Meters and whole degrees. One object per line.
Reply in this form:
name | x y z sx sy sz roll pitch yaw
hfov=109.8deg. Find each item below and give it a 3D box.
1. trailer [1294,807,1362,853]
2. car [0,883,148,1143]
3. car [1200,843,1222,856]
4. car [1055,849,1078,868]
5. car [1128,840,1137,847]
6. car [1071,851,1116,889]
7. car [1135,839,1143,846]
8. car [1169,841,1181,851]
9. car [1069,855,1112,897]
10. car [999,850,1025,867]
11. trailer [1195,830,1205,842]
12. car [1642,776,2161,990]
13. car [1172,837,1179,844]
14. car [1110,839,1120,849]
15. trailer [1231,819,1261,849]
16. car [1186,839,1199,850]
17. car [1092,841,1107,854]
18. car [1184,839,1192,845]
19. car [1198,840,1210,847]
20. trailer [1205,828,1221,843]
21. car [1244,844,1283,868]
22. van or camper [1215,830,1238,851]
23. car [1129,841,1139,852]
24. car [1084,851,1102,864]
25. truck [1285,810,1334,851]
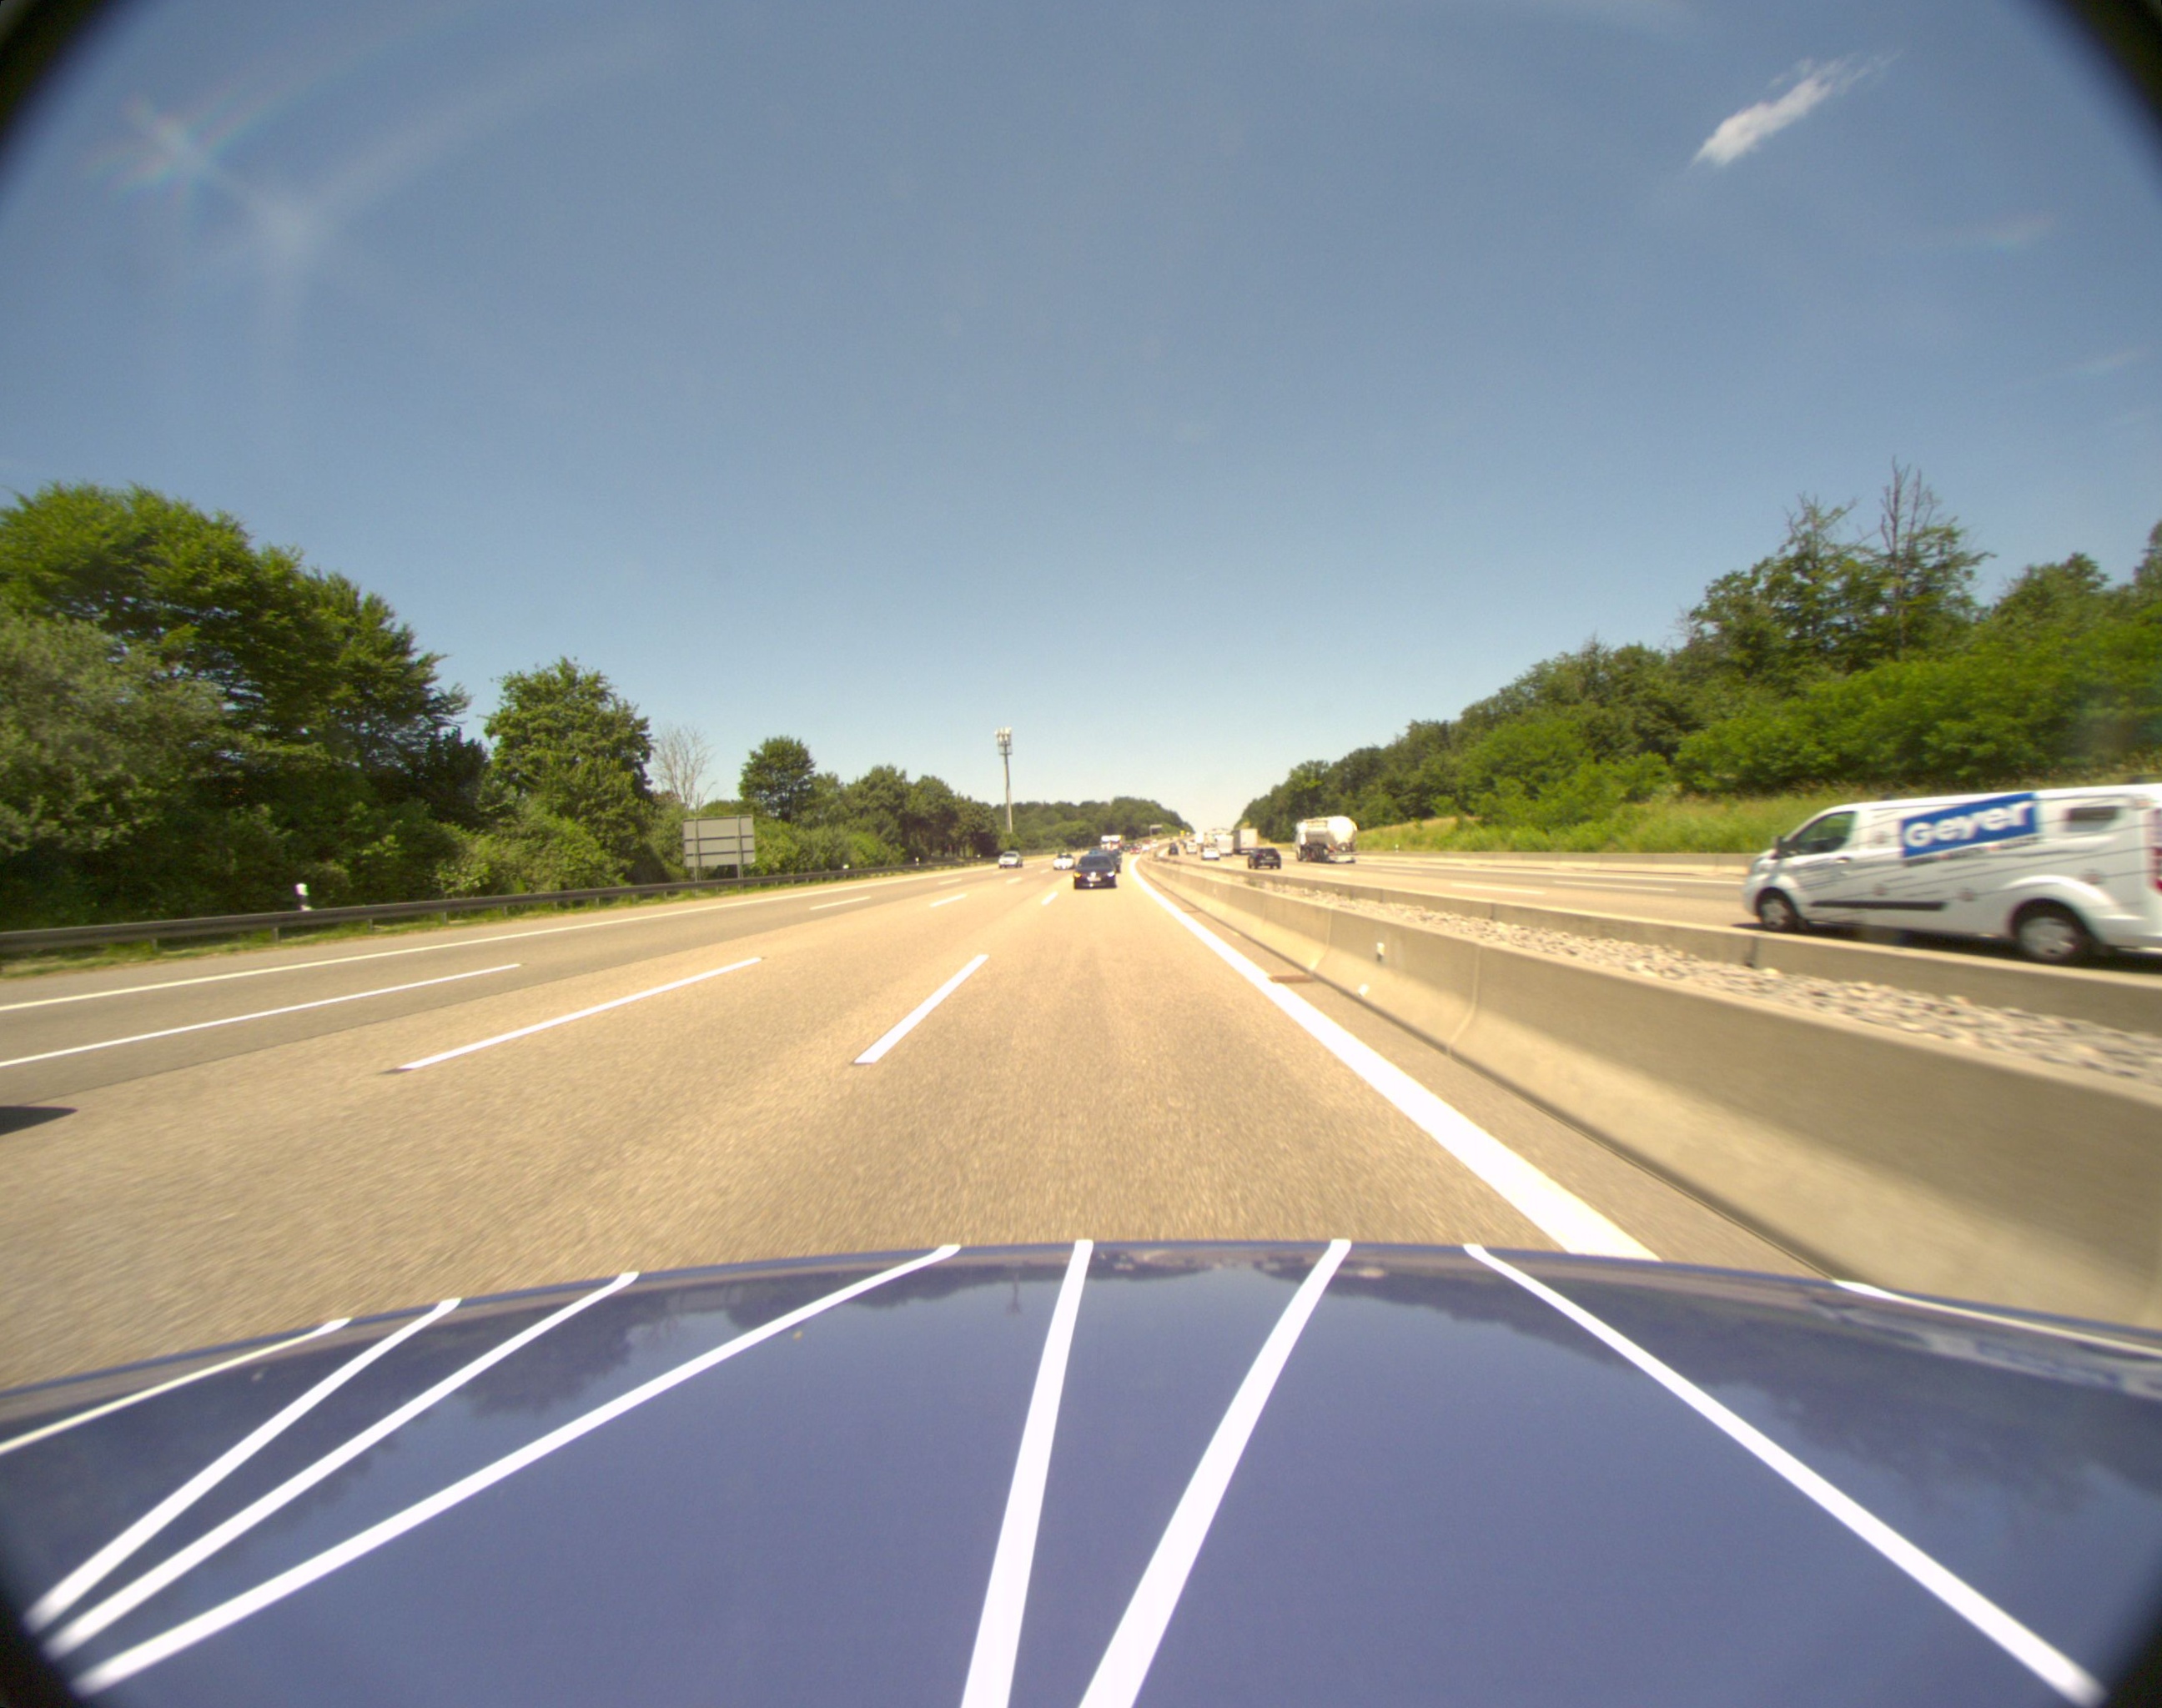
trailer | 21.180 -2.060 65.967 2.658 3.515 10.492 -3 1 2
car | -7.363 1.022 2.979 1.754 1.510 4.483 -2 1 1
car | 15.111 -0.524 88.569 1.998 1.451 5.048 -1 1 3
car | -1.251 0.390 66.185 1.729 1.521 3.741 -2 1 2
car | 13.081 -2.708 193.715 1.998 1.848 4.000 -3 1 3
car | 0.596 0.647 32.909 1.760 1.431 4.000 -2 1 3
car | 18.090 -3.678 236.446 1.998 2.002 3.999 -3 1 2
car | 16.097 -1.338 130.228 1.677 1.488 4.953 -2 1 5
car | 0.417 0.806 28.966 1.447 1.376 3.049 -2 2 3
car | -6.909 0.420 76.722 1.998 1.521 4.000 -2 1 3
trailer | 41.021 -6.168 262.467 2.942 4.077 12.156 -2 1 6
car | 11.427 0.211 10.421 2.201 2.043 7.140 -2 1 0
car | 27.193 -3.850 218.225 1.831 1.819 4.985 -2 1 6
car | 8.591 -2.569 192.166 2.234 2.372 4.161 -3 1 2
trailer | 26.089 -3.170 120.926 3.037 4.336 14.279 -2 1 7
car | 20.322 -1.746 138.344 2.007 2.002 5.185 -2 1 5
car | 3.102 -1.078 123.868 1.997 2.002 4.001 -2 1 6
car | 29.132 -3.237 207.250 1.779 1.456 4.000 -2 1 5
car | 25.574 -2.234 157.959 1.998 1.488 4.799 -2 1 6
trailer | 37.075 -5.094 213.766 3.236 4.014 15.290 -1 1 6
car | 12.725 0.116 53.160 1.679 1.518 4.610 -3 1 2
van or camper | 21.258 -1.953 111.396 2.564 2.914 7.351 -1 1 6
car | 10.920 -1.517 157.127 1.998 2.001 4.001 -3 -1 4
car | 1.575 0.428 99.155 1.998 1.521 4.234 -3 1 4
truck | 21.273 -2.151 71.096 2.710 3.523 6.620 -3 1 1
